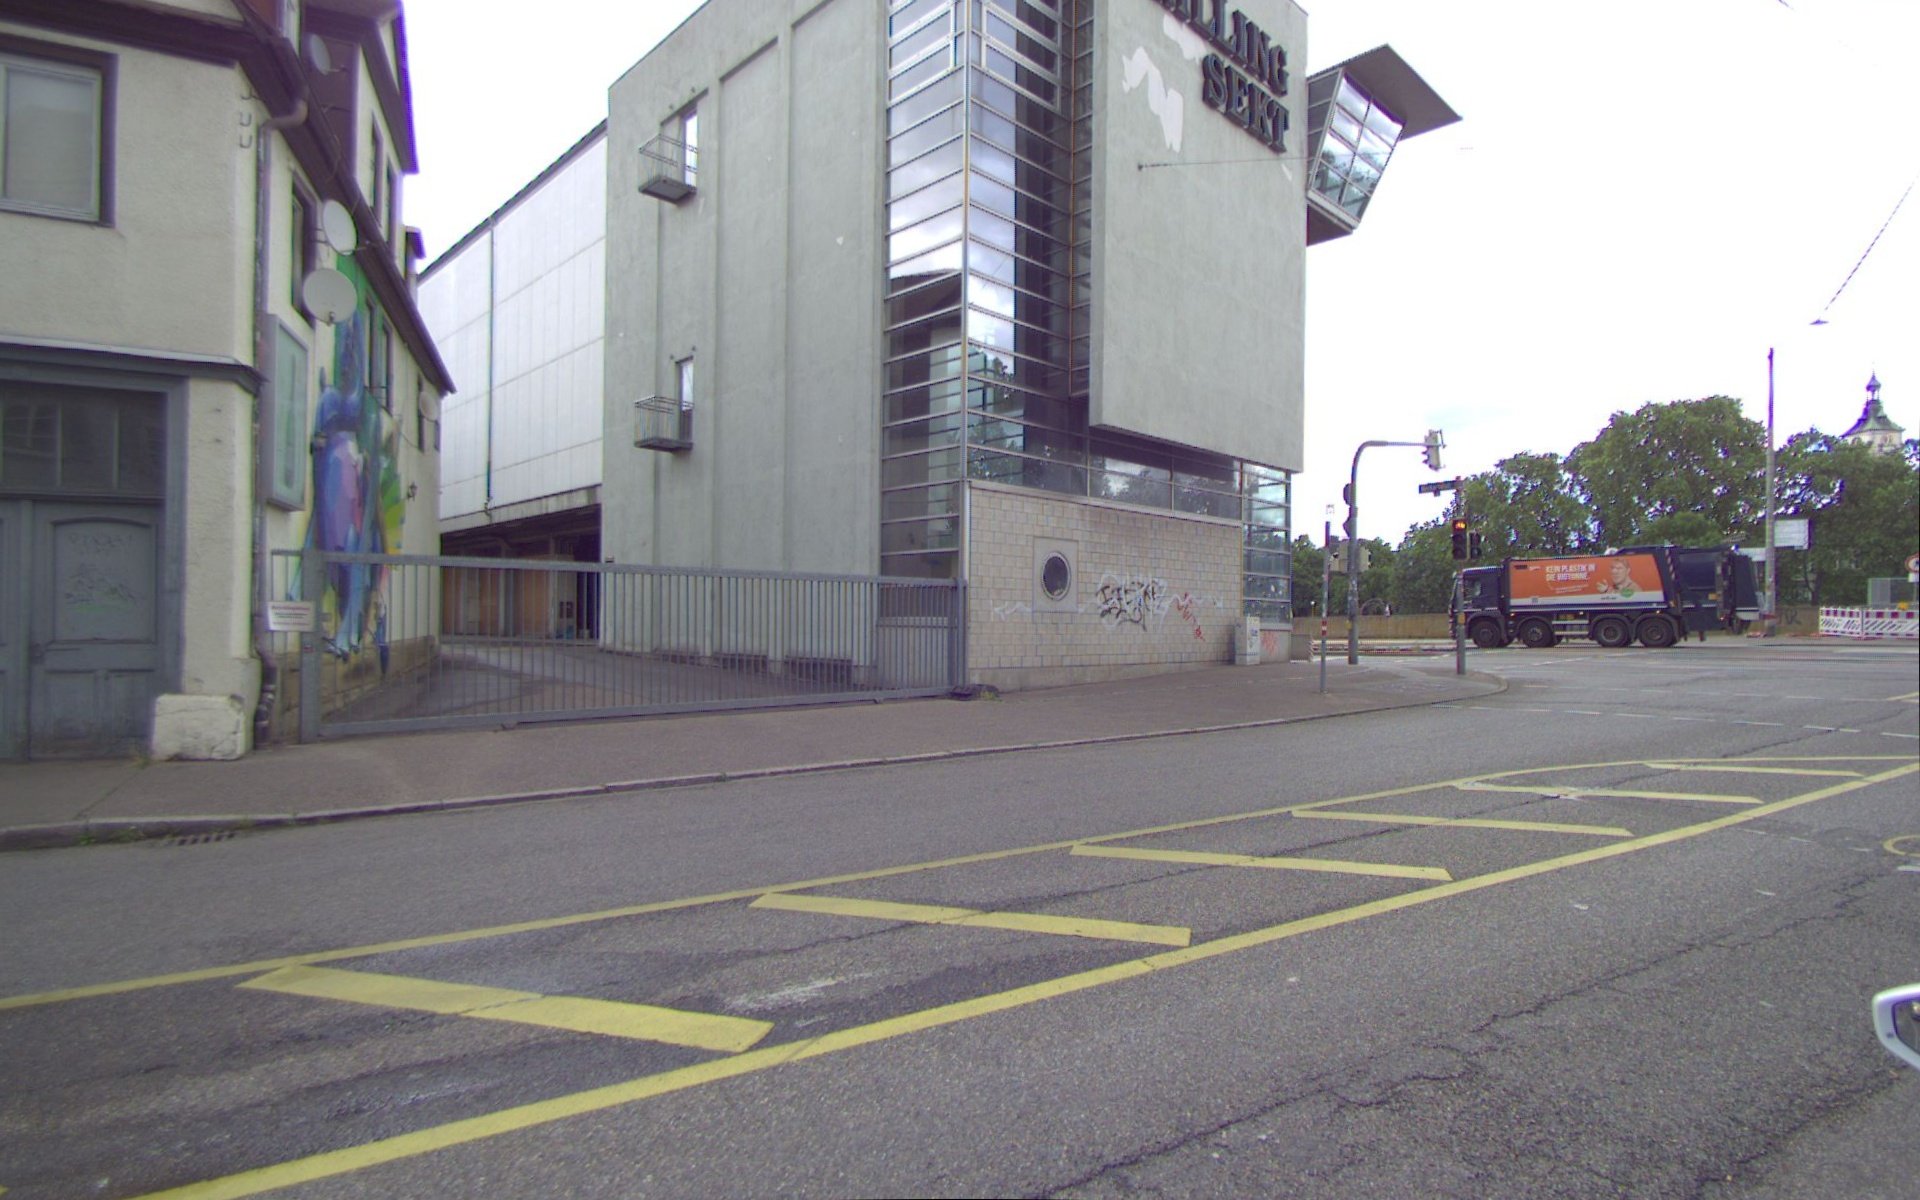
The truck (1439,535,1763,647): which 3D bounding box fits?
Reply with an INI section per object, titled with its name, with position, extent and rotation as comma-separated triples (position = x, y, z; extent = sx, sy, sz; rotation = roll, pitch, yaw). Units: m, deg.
[truck]
position = 23.751, -0.289, 37.843
extent = 10.074, 3.745, 2.258
rotation = 0, -1, 43
